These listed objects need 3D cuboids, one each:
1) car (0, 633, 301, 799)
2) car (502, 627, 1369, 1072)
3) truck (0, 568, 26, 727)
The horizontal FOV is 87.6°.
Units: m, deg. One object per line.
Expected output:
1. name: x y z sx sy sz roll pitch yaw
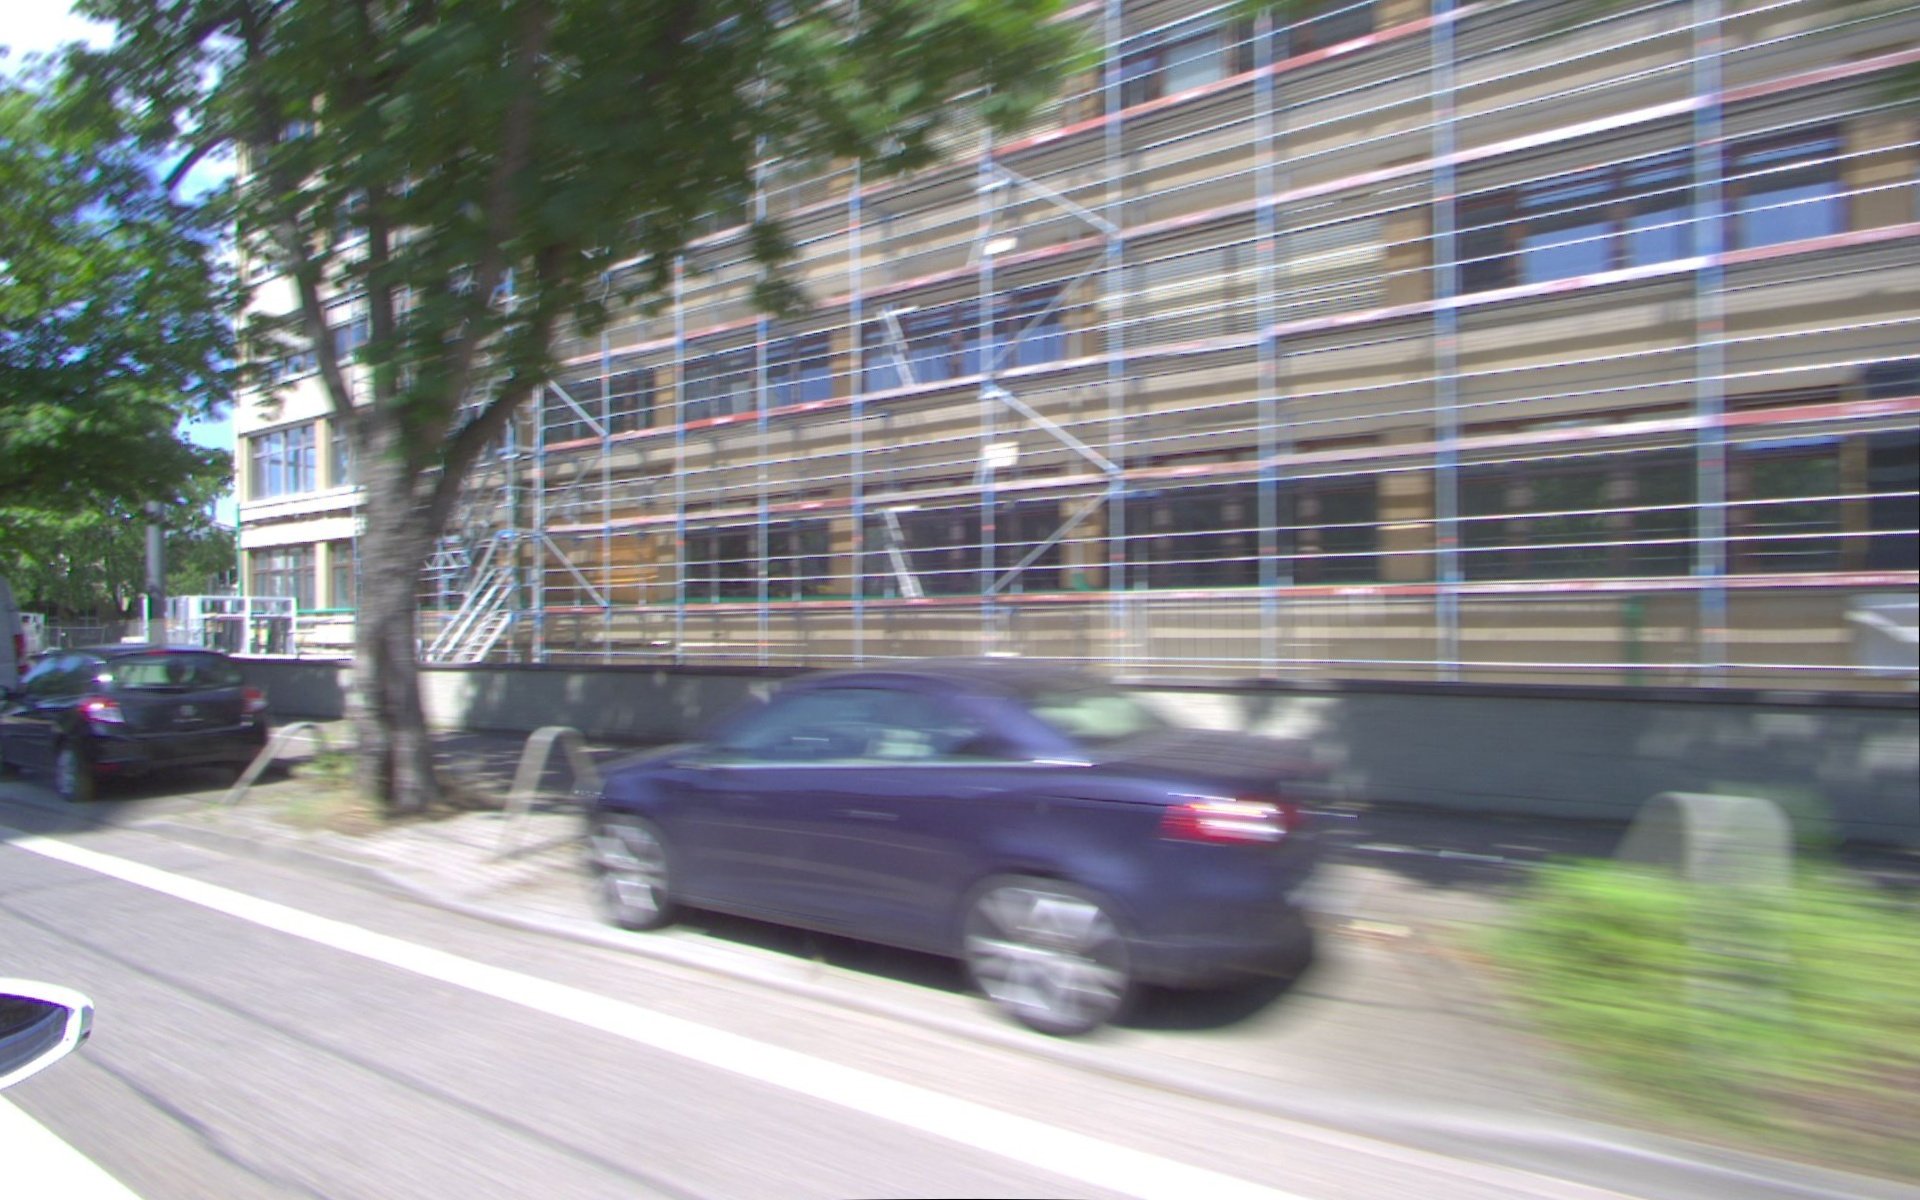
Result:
1. car: -9.334 1.132 11.202 4.341 1.490 1.820 -1 -1 35
2. car: -0.331 0.896 5.367 4.424 1.490 1.820 -1 -1 34
3. truck: -18.079 0.784 16.831 5.870 2.521 2.011 -1 -1 32
